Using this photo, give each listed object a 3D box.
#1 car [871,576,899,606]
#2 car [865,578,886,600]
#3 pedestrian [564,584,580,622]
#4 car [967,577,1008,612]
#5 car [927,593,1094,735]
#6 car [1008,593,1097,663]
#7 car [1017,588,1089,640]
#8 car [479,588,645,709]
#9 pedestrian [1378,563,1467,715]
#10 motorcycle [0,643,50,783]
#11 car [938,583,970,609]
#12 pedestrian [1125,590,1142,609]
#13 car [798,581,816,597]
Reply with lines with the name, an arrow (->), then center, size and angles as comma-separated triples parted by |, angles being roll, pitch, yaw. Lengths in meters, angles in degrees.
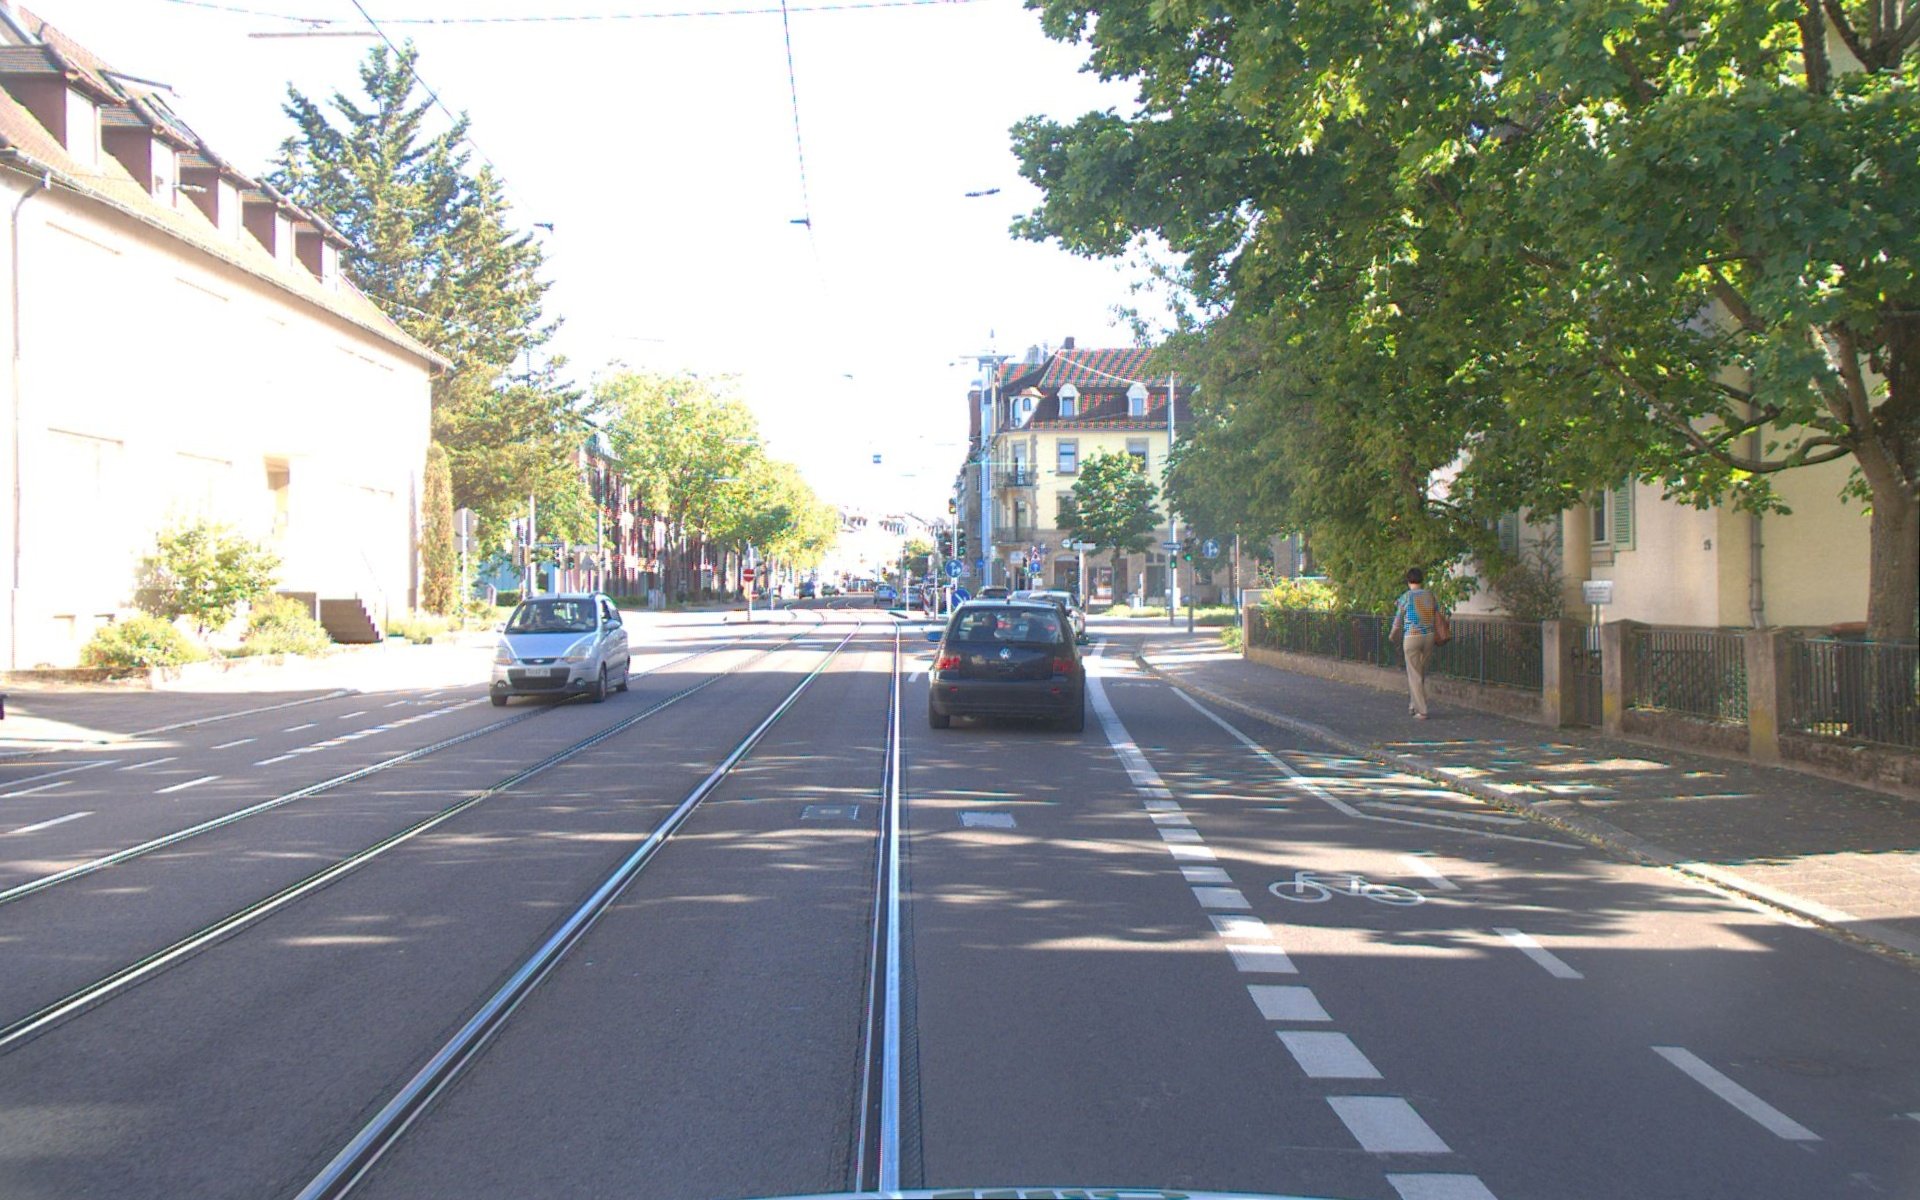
car -> -4.878, -0.587, 107.177 | 1.752, 1.892, 3.997 | 1, 0, -4
car -> -7.513, -0.992, 146.709 | 1.752, 1.892, 3.997 | -1, 1, -4
pedestrian -> -18.133, 0.137, 77.280 | 0.600, 1.719, 0.729 | 2, 1, -21
car -> 1.229, -0.224, 75.537 | 1.539, 1.334, 3.495 | -1, -4, -4
car -> 0.618, 0.645, 18.949 | 1.680, 1.427, 4.008 | 1, 0, 3
car -> 1.951, 0.568, 35.744 | 1.601, 1.396, 3.756 | -1, 1, -1
car -> 2.811, 0.398, 49.306 | 1.702, 1.466, 3.813 | -1, 1, 10
car -> -5.436, 0.611, 22.944 | 1.543, 1.503, 3.439 | -1, 1, -2
pedestrian -> 5.389, 0.440, 19.305 | 0.703, 1.717, 0.870 | -2, 0, -4
motorcycle -> -8.558, 1.000, 14.005 | 0.525, 1.182, 2.171 | -2, 0, -2
car -> -0.355, -0.247, 95.227 | 1.648, 1.479, 3.376 | -1, 0, -4
pedestrian -> 11.105, -0.031, 105.821 | 0.960, 1.208, 0.743 | -1, 0, -3
car -> -17.914, -1.278, 193.391 | 1.934, 1.847, 4.291 | -1, 0, -6
